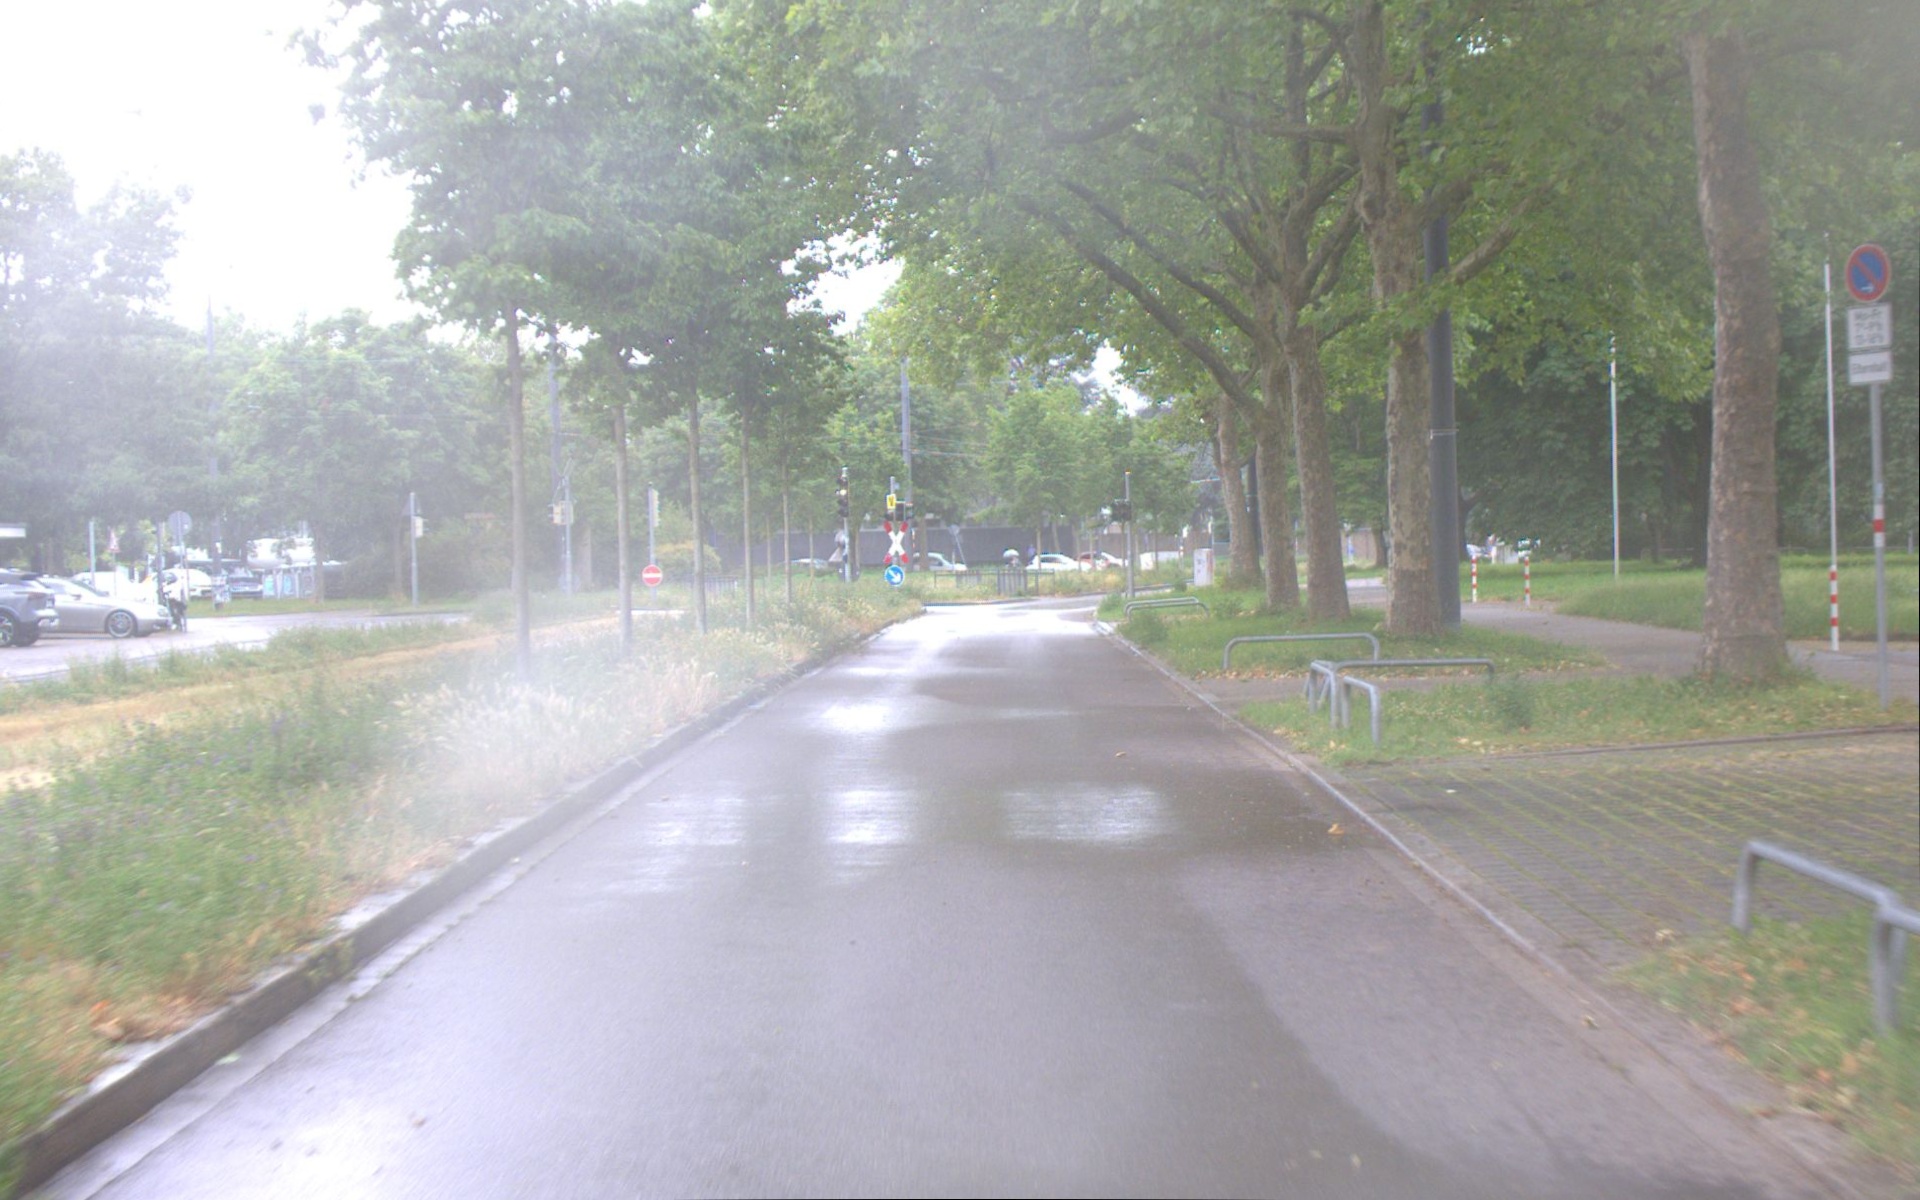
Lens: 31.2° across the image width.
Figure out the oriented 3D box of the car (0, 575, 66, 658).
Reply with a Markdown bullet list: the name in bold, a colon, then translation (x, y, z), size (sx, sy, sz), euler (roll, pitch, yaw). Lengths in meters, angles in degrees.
- **car**: translation (-20.207, 0.374, 69.030), size (3.986, 1.611, 2.000), euler (-2, 1, -2)

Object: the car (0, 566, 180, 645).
- **car**: translation (-19.757, 0.127, 77.254), size (3.986, 1.611, 2.000), euler (-2, 1, -2)
